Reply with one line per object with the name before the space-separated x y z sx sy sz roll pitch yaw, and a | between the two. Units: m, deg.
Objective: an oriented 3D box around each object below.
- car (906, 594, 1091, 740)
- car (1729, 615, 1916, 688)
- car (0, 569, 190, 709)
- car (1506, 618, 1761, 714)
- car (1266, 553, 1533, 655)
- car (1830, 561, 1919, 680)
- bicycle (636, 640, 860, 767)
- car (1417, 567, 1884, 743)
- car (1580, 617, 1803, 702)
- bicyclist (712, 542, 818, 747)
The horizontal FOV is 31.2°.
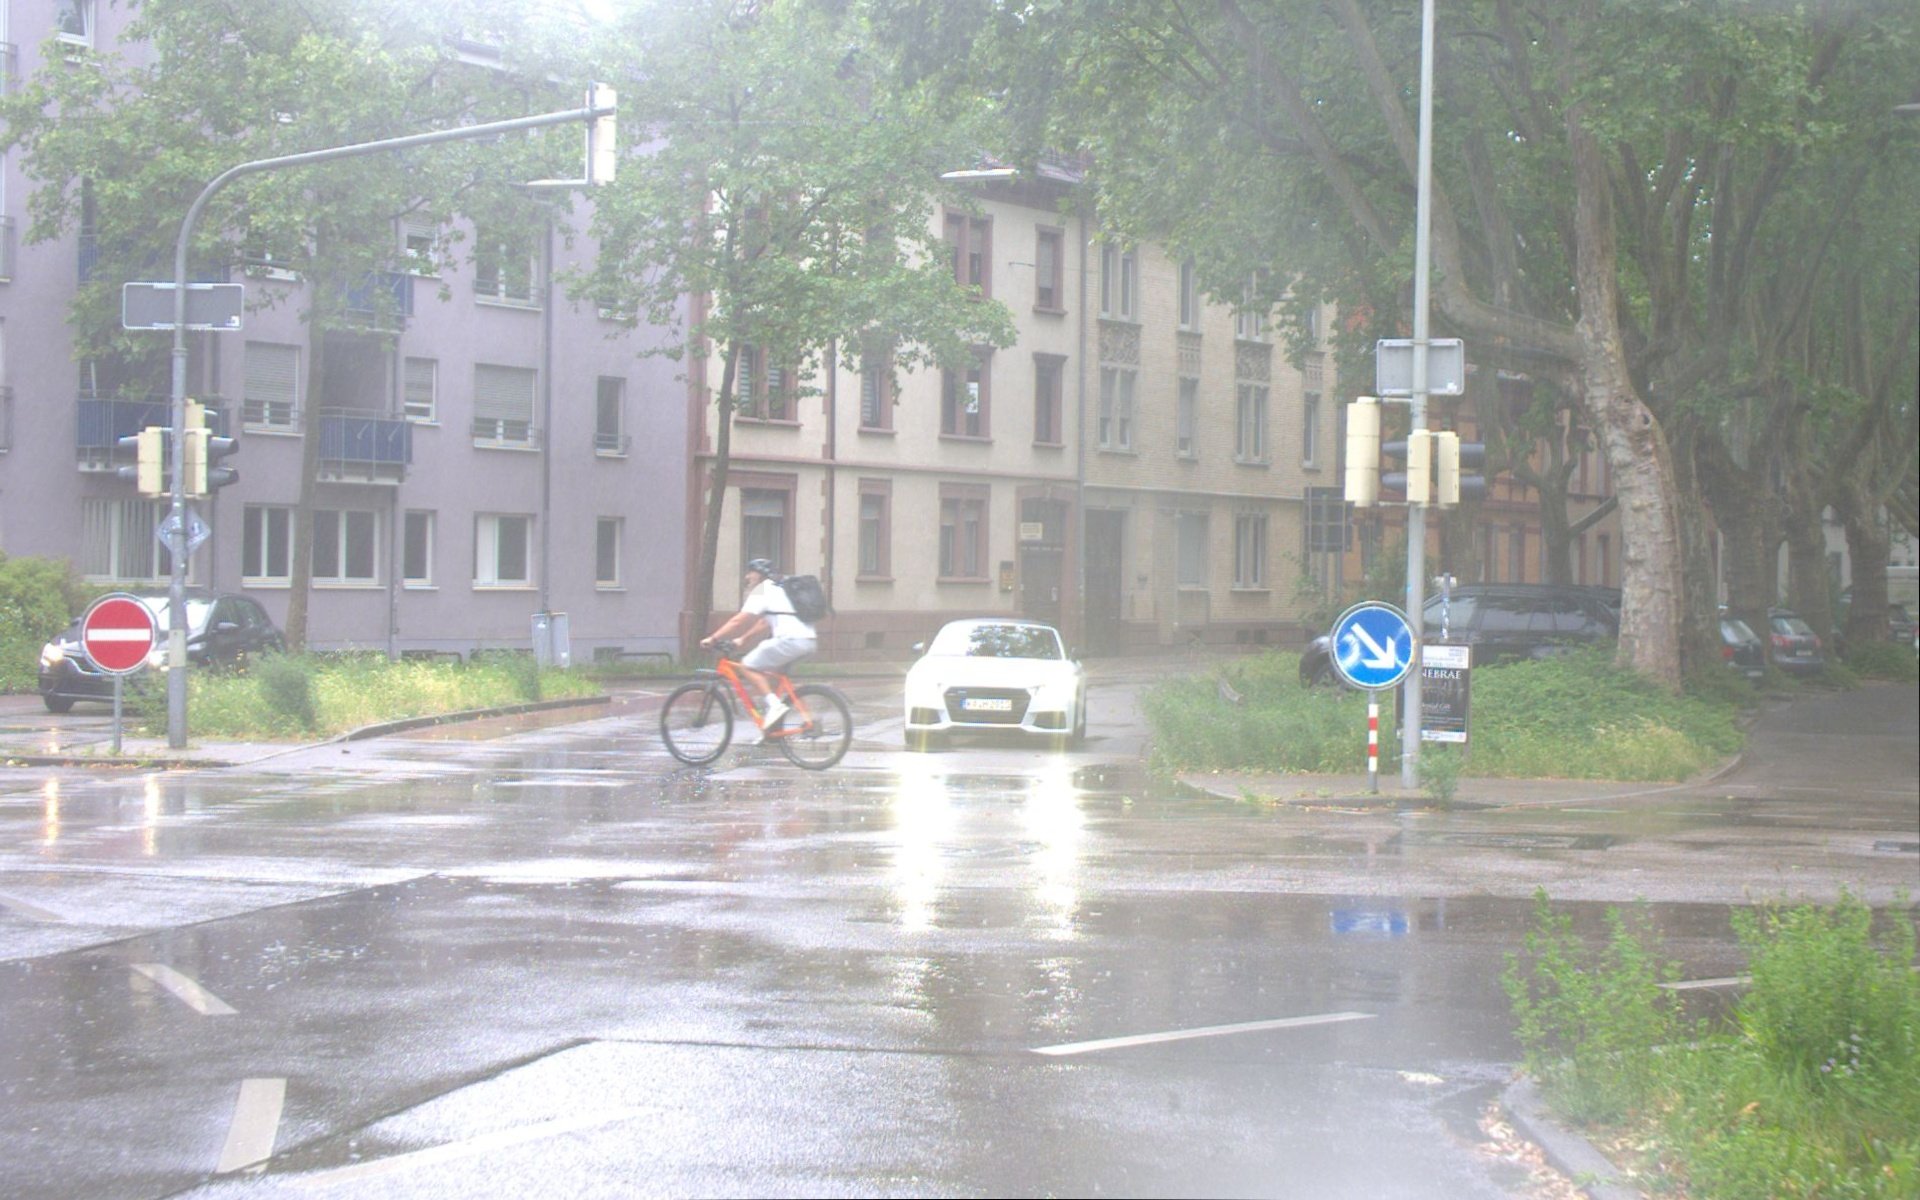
car | 0.440 0.685 37.451 1.884 1.431 4.000 1 1 1
car | 19.296 1.142 77.054 3.989 1.542 1.999 1 0 12
car | -10.179 0.416 39.789 1.751 1.506 3.839 1 0 -2
car | 10.974 1.055 56.010 3.989 1.481 1.999 1 0 12
car | 6.690 0.054 52.189 3.868 1.481 1.715 1 0 12
car | 24.080 0.510 86.142 2.033 2.938 4.773 1 0 -21
bicycle | -1.865 0.908 30.409 1.873 1.077 0.657 1 0 7
car | 6.224 0.472 31.060 3.989 1.481 1.999 1 0 12
car | 13.573 1.093 63.851 3.989 1.481 1.999 1 0 12
bicyclist | -1.718 0.386 30.396 0.795 1.780 0.697 1 0 7
